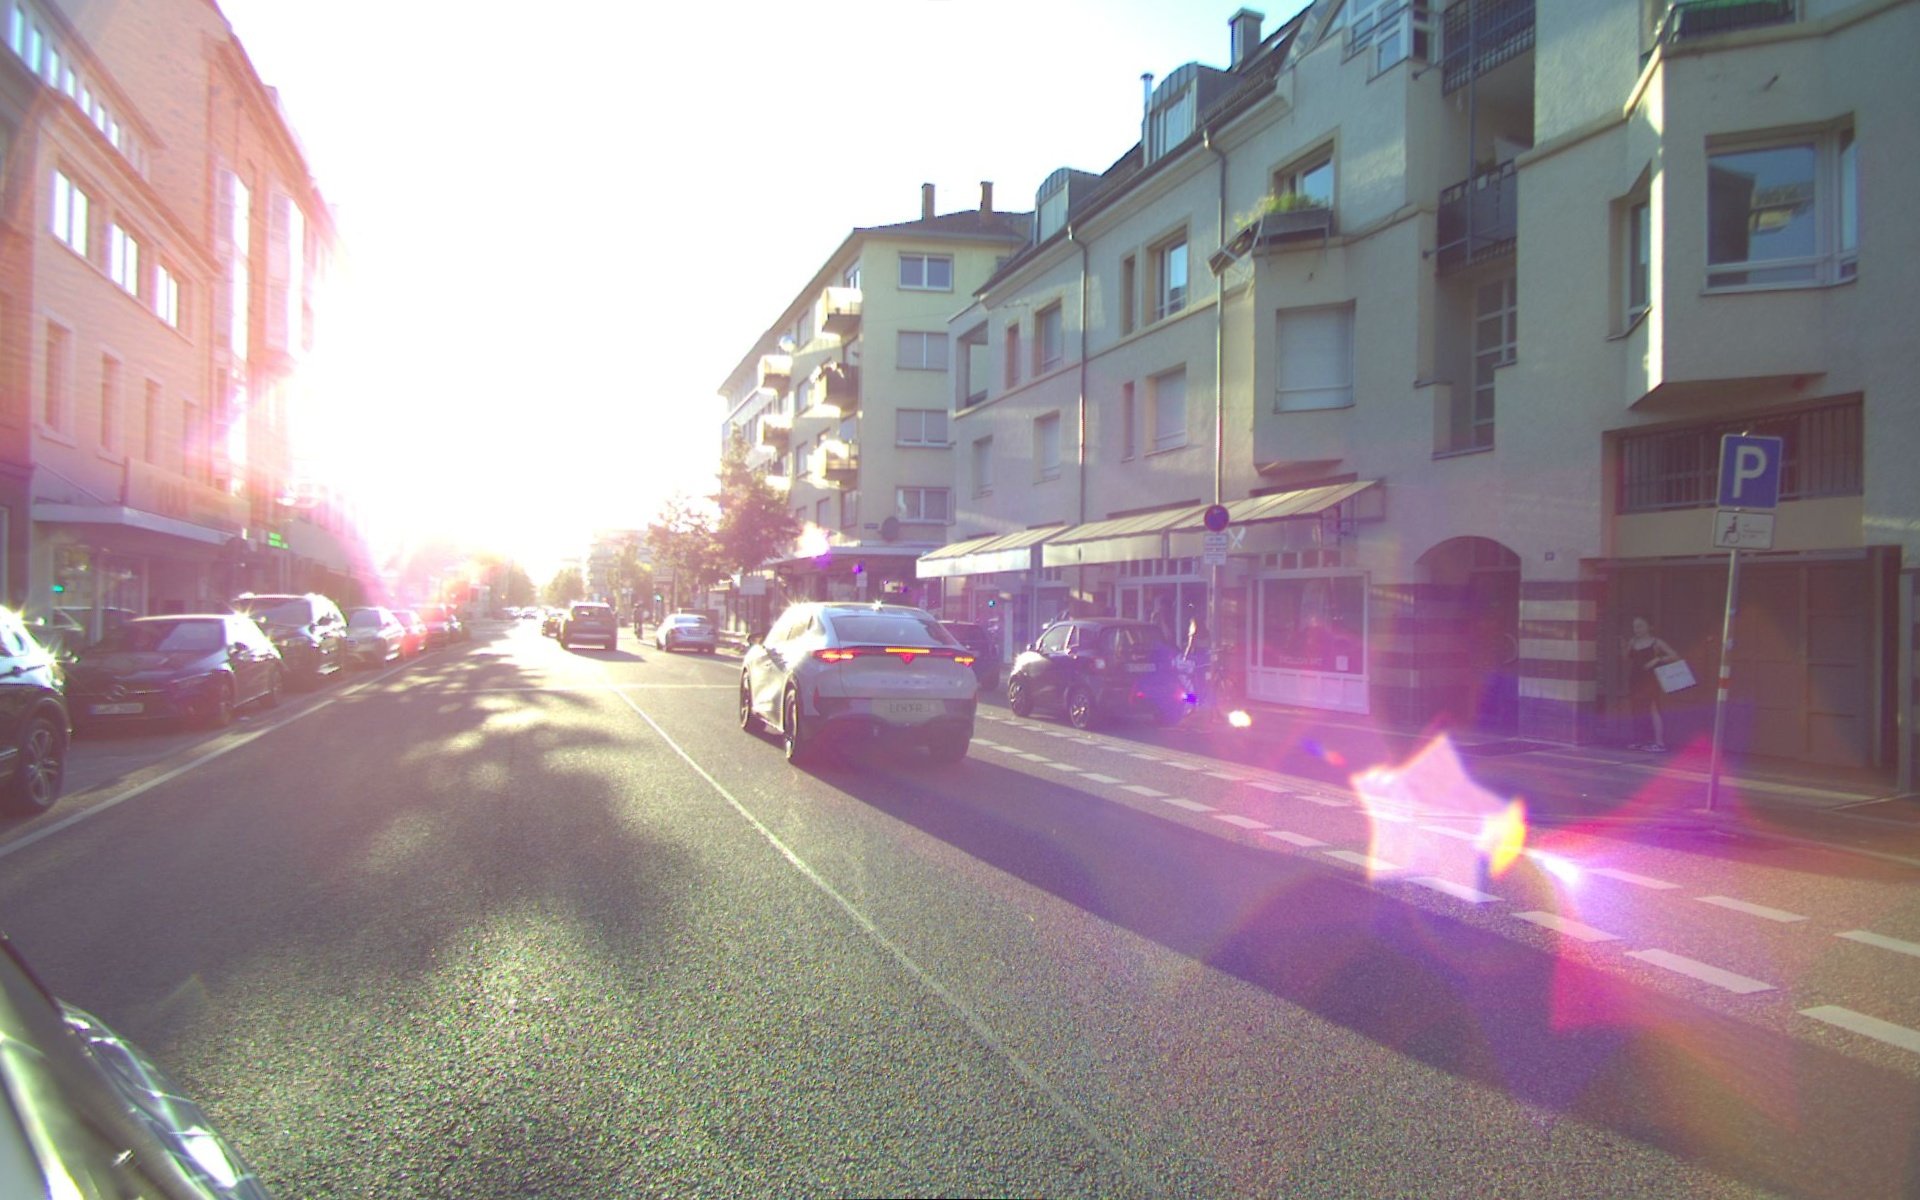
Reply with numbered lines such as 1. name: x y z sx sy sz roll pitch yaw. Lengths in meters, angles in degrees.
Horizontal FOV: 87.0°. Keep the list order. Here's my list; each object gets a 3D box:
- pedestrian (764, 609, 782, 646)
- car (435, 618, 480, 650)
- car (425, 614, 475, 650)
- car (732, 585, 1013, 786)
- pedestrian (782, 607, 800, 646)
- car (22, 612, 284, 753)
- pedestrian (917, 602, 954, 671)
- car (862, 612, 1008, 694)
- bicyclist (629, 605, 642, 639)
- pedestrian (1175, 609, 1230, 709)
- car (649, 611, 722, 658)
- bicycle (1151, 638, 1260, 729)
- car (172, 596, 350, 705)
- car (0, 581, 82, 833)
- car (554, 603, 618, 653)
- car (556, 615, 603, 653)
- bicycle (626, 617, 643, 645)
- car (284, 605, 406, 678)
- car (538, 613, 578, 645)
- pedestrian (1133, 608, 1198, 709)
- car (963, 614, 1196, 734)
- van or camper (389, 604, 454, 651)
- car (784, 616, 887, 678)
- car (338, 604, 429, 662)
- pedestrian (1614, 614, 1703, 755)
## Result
1. pedestrian: -9.054 1.325 49.059 0.708 1.805 0.669 0 -1 -22
2. car: -24.991 1.658 50.425 1.666 1.514 3.799 1 -1 -21
3. car: -22.913 1.413 45.569 1.666 1.514 3.799 1 -1 -21
4. car: -1.184 0.795 11.007 1.846 1.710 4.335 3 -2 -21
5. pedestrian: -7.868 1.226 47.164 0.708 1.805 0.669 0 -1 -22
6. car: -10.583 0.944 13.653 1.661 1.499 4.425 -2 0 -24
7. pedestrian: -0.631 0.919 25.851 0.708 1.747 0.740 0 -1 -23
8. car: -0.629 1.073 21.879 1.764 1.592 3.799 1 -1 -25
9. bicyclist: -15.325 1.018 47.828 0.539 1.592 0.805 1 -1 -20
10. pedestrian: 4.282 1.018 17.866 0.551 1.713 0.834 1 -1 -24
11. car: -10.379 1.269 38.051 1.965 1.617 4.419 2 -2 -24
12. bicycle: 3.622 1.200 15.140 0.550 1.215 1.984 1 -1 -21
13. car: -13.260 0.855 19.568 1.965 1.790 5.336 0 0 -25
14. car: -7.006 0.735 5.761 1.769 1.711 4.475 -1 0 -24
15. car: -13.670 0.991 36.862 1.812 1.661 4.315 3 -2 -24
16. car: -18.267 1.603 48.439 1.812 1.661 4.315 3 -2 -23
17. bicycle: -15.406 1.472 47.894 0.654 1.252 2.137 3 -2 -20
18. car: -15.534 0.968 25.798 1.965 1.667 4.643 0 0 -22
19. car: -22.858 1.600 57.505 1.812 1.661 4.315 3 -2 -24
20. pedestrian: 3.606 1.000 17.810 0.621 1.713 1.044 1 -1 -24
21. car: 1.706 1.034 15.824 1.764 1.592 3.980 1 -1 -25
22. van or camper: -21.340 1.061 40.241 1.763 1.787 4.573 1 -1 -21
23. car: -3.583 1.279 28.576 1.764 1.592 3.799 1 -1 -25
24. car: -17.849 0.985 31.531 1.965 1.667 4.495 1 -1 -24
25. pedestrian: 8.210 0.961 11.895 0.526 1.584 0.779 2 -1 -44
